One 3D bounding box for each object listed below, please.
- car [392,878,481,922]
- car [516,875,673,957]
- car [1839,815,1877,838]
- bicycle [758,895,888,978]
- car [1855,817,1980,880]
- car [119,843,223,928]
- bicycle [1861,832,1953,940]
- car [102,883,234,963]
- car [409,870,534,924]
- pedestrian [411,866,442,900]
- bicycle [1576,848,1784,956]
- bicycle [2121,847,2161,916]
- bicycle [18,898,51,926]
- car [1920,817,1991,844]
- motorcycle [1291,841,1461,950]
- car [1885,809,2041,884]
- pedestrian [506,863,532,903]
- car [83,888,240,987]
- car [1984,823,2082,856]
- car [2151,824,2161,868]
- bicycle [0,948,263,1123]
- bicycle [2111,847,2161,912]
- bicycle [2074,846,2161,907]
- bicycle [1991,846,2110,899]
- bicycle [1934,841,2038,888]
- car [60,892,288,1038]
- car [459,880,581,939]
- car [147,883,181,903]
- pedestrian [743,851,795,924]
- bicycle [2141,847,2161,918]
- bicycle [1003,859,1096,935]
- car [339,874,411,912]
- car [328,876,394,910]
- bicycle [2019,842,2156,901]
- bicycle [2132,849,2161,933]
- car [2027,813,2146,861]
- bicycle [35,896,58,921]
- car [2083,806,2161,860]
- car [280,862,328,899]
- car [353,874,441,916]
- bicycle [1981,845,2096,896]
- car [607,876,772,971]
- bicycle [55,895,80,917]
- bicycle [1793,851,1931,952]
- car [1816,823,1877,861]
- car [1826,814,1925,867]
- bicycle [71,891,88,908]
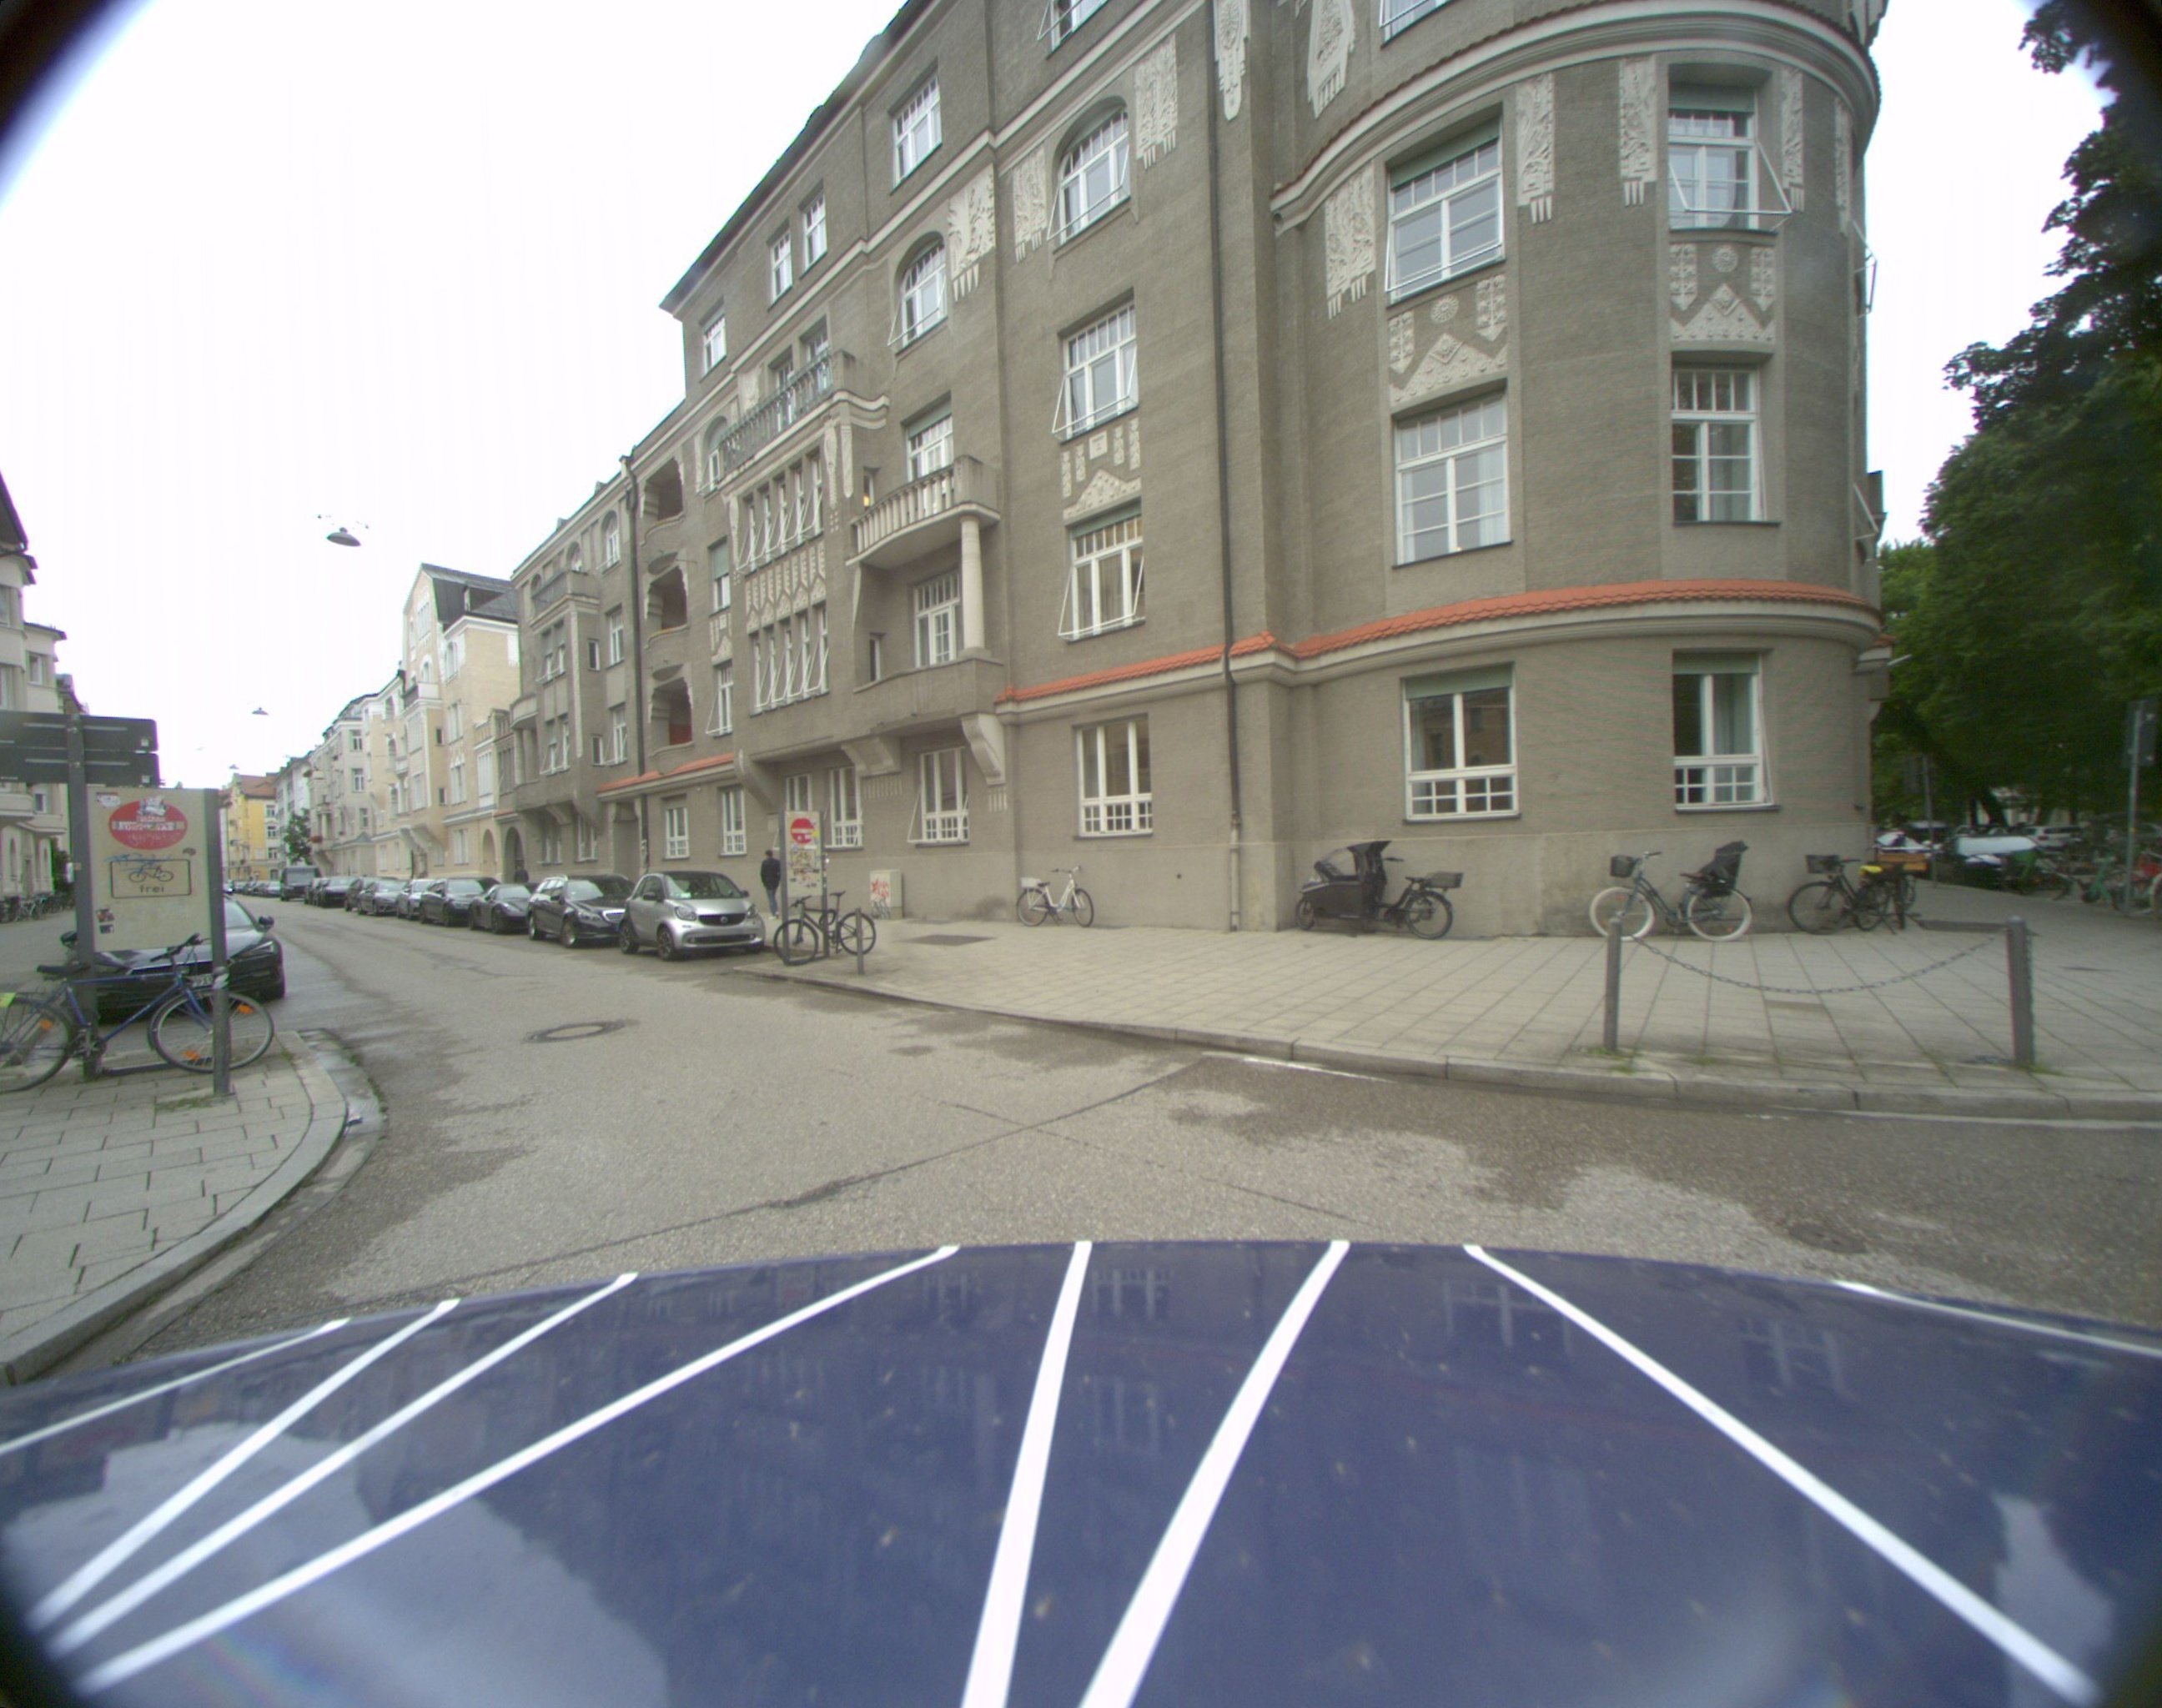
[{"bbox_3d":[-23.323,1.610,27.439,4.426,1.423,1.815,-2,-1,42],"label":"car"},{"bbox_3d":[-10.896,1.260,16.866,4.694,1.506,1.764,-2,1,43],"label":"car"},{"bbox_3d":[72.017,-2.551,70.500,1.994,1.941,4.669,-1,1,40],"label":"car"},{"bbox_3d":[-3.888,1.209,11.586,0.538,1.009,1.811,-1,2,39],"label":"bicycle"},{"bbox_3d":[28.477,-0.239,26.046,1.994,1.941,4.669,-1,1,37],"label":"car"},{"bbox_3d":[-35.777,1.130,29.919,6.114,2.943,2.266,0,3,40],"label":"car"},{"bbox_3d":[12.067,0.420,11.079,1.929,1.405,0.736,-3,2,-38],"label":"bicycle"},{"bbox_3d":[-21.067,1.495,17.500,3.844,1.528,1.642,-1,1,36],"label":"car"},{"bbox_3d":[-19.180,1.291,23.839,4.765,1.440,2.004,-1,1,39],"label":"car"},{"bbox_3d":[-34.540,1.531,40.099,0.937,1.719,0.998,-1,2,40],"label":"pedestrian"},{"bbox_3d":[7.450,0.593,9.540,1.923,1.249,0.738,-2,1,10],"label":"bicycle"},{"bbox_3d":[18.541,0.456,12.497,0.467,1.140,1.680,-3,2,-34],"label":"bicycle"},{"bbox_3d":[-45.773,2.528,33.238,1.962,1.111,0.644,-1,2,41],"label":"bicycle"},{"bbox_3d":[50.649,-1.325,44.097,1.772,1.424,4.525,-1,0,36],"label":"car"},{"bbox_3d":[4.251,0.572,11.047,2.141,1.432,0.739,-1,2,39],"label":"motorcycle"},{"bbox_3d":[25.545,-0.260,22.214,1.994,1.941,4.669,-1,1,37],"label":"car"},{"bbox_3d":[-25.835,1.324,34.958,0.728,1.807,0.720,-1,2,39],"label":"pedestrian"},{"bbox_3d":[-17.115,1.434,14.136,3.844,1.463,1.642,-1,1,38],"label":"car"},{"bbox_3d":[45.062,-0.693,36.079,1.772,1.424,4.525,-1,0,36],"label":"car"},{"bbox_3d":[35.444,-0.248,23.261,1.772,1.424,4.525,-1,0,36],"label":"car"},{"bbox_3d":[-7.462,1.323,5.617,1.799,1.079,0.665,-1,-1,-23],"label":"bicycle"},{"bbox_3d":[19.673,0.455,13.464,0.513,1.140,1.680,-3,2,-34],"label":"bicycle"},{"bbox_3d":[20.510,0.421,14.624,0.513,1.140,1.680,-3,2,-34],"label":"bicycle"},{"bbox_3d":[22.473,0.419,17.645,0.513,1.140,1.680,-3,2,-34],"label":"bicycle"},{"bbox_3d":[23.333,0.269,19.616,0.513,1.140,1.680,-3,2,-34],"label":"bicycle"},{"bbox_3d":[-12.664,1.355,10.600,4.598,1.463,1.701,-1,1,38],"label":"car"},{"bbox_3d":[-15.158,1.419,20.453,4.085,1.323,1.764,-2,1,41],"label":"car"},{"bbox_3d":[-74.706,3.144,61.927,3.635,1.434,1.688,-1,2,40],"label":"car"},{"bbox_3d":[-7.961,0.833,19.397,0.933,1.777,0.843,-1,2,43],"label":"pedestrian"},{"bbox_3d":[18.105,0.455,11.923,0.513,1.140,1.704,-3,2,-34],"label":"bicycle"},{"bbox_3d":[-0.611,0.802,14.433,1.670,1.342,0.621,-1,2,36],"label":"bicycle"},{"bbox_3d":[-32.398,1.742,34.853,3.803,1.563,1.812,-1,1,39],"label":"car"},{"bbox_3d":[-38.936,2.069,41.051,4.604,1.649,1.961,-1,1,40],"label":"car"},{"bbox_3d":[20.692,0.354,15.656,0.513,1.140,1.680,-3,2,-34],"label":"bicycle"},{"bbox_3d":[15.858,0.492,10.769,1.685,1.140,0.511,-3,2,-13],"label":"bicycle"},{"bbox_3d":[41.852,-0.696,31.752,1.772,1.825,4.525,-1,0,36],"label":"car"},{"bbox_3d":[-50.969,2.677,37.451,1.962,1.111,0.495,-1,2,40],"label":"bicycle"},{"bbox_3d":[38.591,-0.782,27.383,1.772,1.808,4.525,-1,1,36],"label":"car"},{"bbox_3d":[-57.626,1.914,56.303,5.662,2.605,2.110,-1,0,41],"label":"car"},{"bbox_3d":[-27.765,1.608,30.797,4.595,1.504,1.847,-1,1,38],"label":"car"},{"bbox_3d":[22.898,0.386,18.197,0.513,1.140,1.680,-3,2,-34],"label":"bicycle"},{"bbox_3d":[-7.213,1.176,13.940,2.903,1.506,1.713,-1,0,41],"label":"car"},{"bbox_3d":[-55.740,2.827,41.803,1.962,1.111,0.649,-1,2,41],"label":"bicycle"},{"bbox_3d":[10.325,0.587,10.038,1.928,1.151,0.563,-3,5,-23],"label":"bicycle"},{"bbox_3d":[42.641,-0.706,42.427,1.994,1.941,4.669,-1,1,40],"label":"car"},{"bbox_3d":[31.932,-0.567,30.679,1.994,1.941,4.669,-1,1,37],"label":"car"},{"bbox_3d":[-62.436,2.837,47.378,1.812,0.952,0.541,-1,2,38],"label":"bicycle"}]
